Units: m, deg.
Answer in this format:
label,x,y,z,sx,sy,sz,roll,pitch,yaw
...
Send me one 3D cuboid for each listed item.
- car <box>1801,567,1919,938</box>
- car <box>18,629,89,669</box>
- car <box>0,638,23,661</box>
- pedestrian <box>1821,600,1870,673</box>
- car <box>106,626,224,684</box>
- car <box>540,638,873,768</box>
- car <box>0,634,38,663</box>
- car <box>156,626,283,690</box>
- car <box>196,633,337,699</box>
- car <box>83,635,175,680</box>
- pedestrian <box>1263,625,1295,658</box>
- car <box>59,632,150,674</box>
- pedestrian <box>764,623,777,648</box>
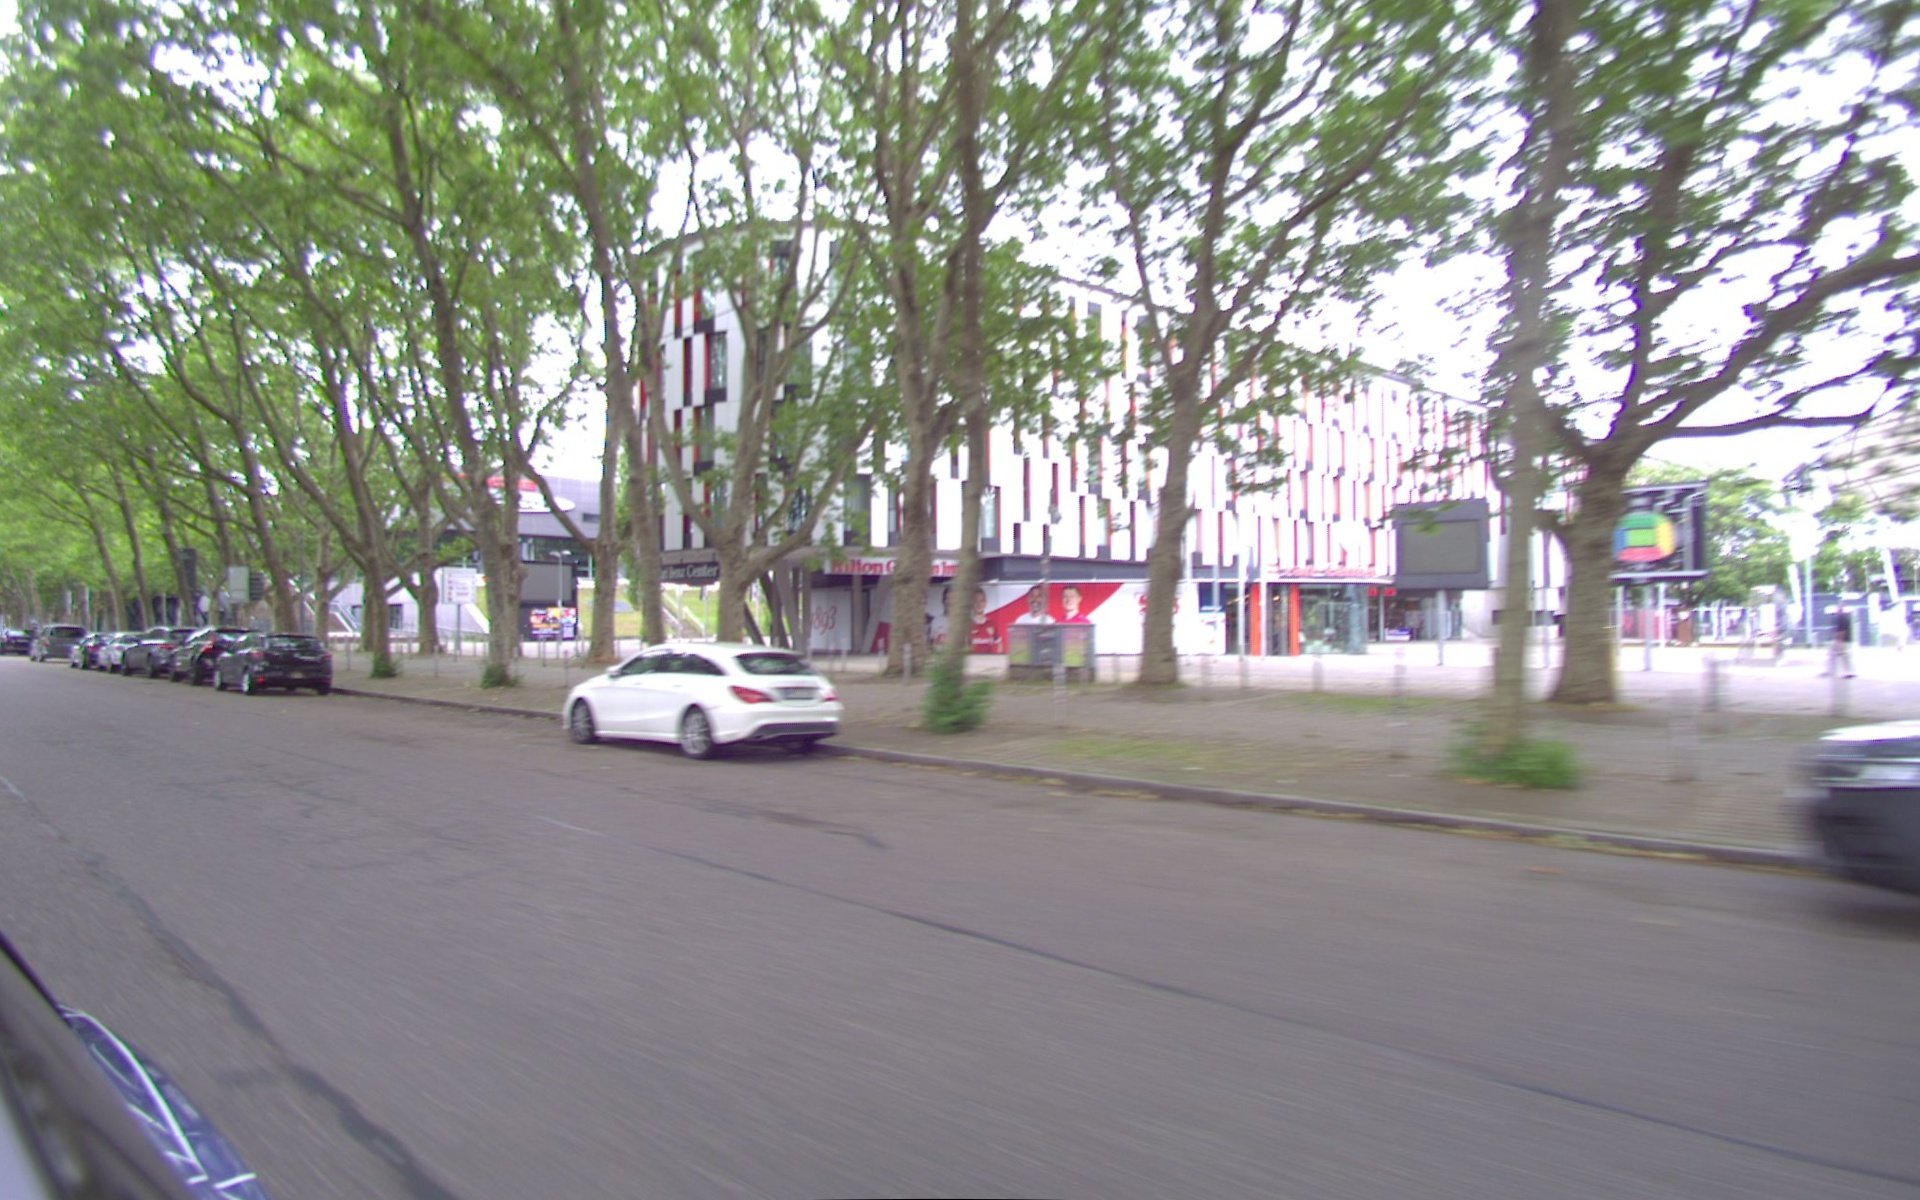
label,x,y,z,sx,sy,sz,roll,pitch,yaw
car,6.626,0.722,4.312,4.635,1.764,1.929,-2,-3,41
car,-43.521,2.328,48.560,4.610,1.809,1.876,-2,-5,41
car,-58.975,3.026,61.939,5.002,1.373,1.797,-2,-4,40
pedestrian,21.374,0.874,24.427,0.808,1.704,0.716,-2,-2,45
car,-25.473,1.742,32.378,4.642,1.731,1.851,-2,-5,38
car,-3.494,1.248,13.410,4.749,1.413,1.884,-2,-5,41
car,-54.655,2.785,58.365,4.345,1.606,1.797,-2,-5,43
car,-21.147,1.640,28.809,4.927,1.656,1.916,-2,-5,43
car,-17.250,1.616,25.093,4.441,1.506,1.814,-2,-5,42
car,-29.724,2.043,36.157,4.228,1.467,1.814,-2,-5,41
pedestrian,14.660,1.911,46.543,1.109,1.473,1.034,-2,-2,39
car,-33.534,2.048,39.597,5.144,1.542,2.061,-2,-4,43
pedestrian,-13.007,2.427,69.483,0.693,1.703,0.636,-2,-2,43
